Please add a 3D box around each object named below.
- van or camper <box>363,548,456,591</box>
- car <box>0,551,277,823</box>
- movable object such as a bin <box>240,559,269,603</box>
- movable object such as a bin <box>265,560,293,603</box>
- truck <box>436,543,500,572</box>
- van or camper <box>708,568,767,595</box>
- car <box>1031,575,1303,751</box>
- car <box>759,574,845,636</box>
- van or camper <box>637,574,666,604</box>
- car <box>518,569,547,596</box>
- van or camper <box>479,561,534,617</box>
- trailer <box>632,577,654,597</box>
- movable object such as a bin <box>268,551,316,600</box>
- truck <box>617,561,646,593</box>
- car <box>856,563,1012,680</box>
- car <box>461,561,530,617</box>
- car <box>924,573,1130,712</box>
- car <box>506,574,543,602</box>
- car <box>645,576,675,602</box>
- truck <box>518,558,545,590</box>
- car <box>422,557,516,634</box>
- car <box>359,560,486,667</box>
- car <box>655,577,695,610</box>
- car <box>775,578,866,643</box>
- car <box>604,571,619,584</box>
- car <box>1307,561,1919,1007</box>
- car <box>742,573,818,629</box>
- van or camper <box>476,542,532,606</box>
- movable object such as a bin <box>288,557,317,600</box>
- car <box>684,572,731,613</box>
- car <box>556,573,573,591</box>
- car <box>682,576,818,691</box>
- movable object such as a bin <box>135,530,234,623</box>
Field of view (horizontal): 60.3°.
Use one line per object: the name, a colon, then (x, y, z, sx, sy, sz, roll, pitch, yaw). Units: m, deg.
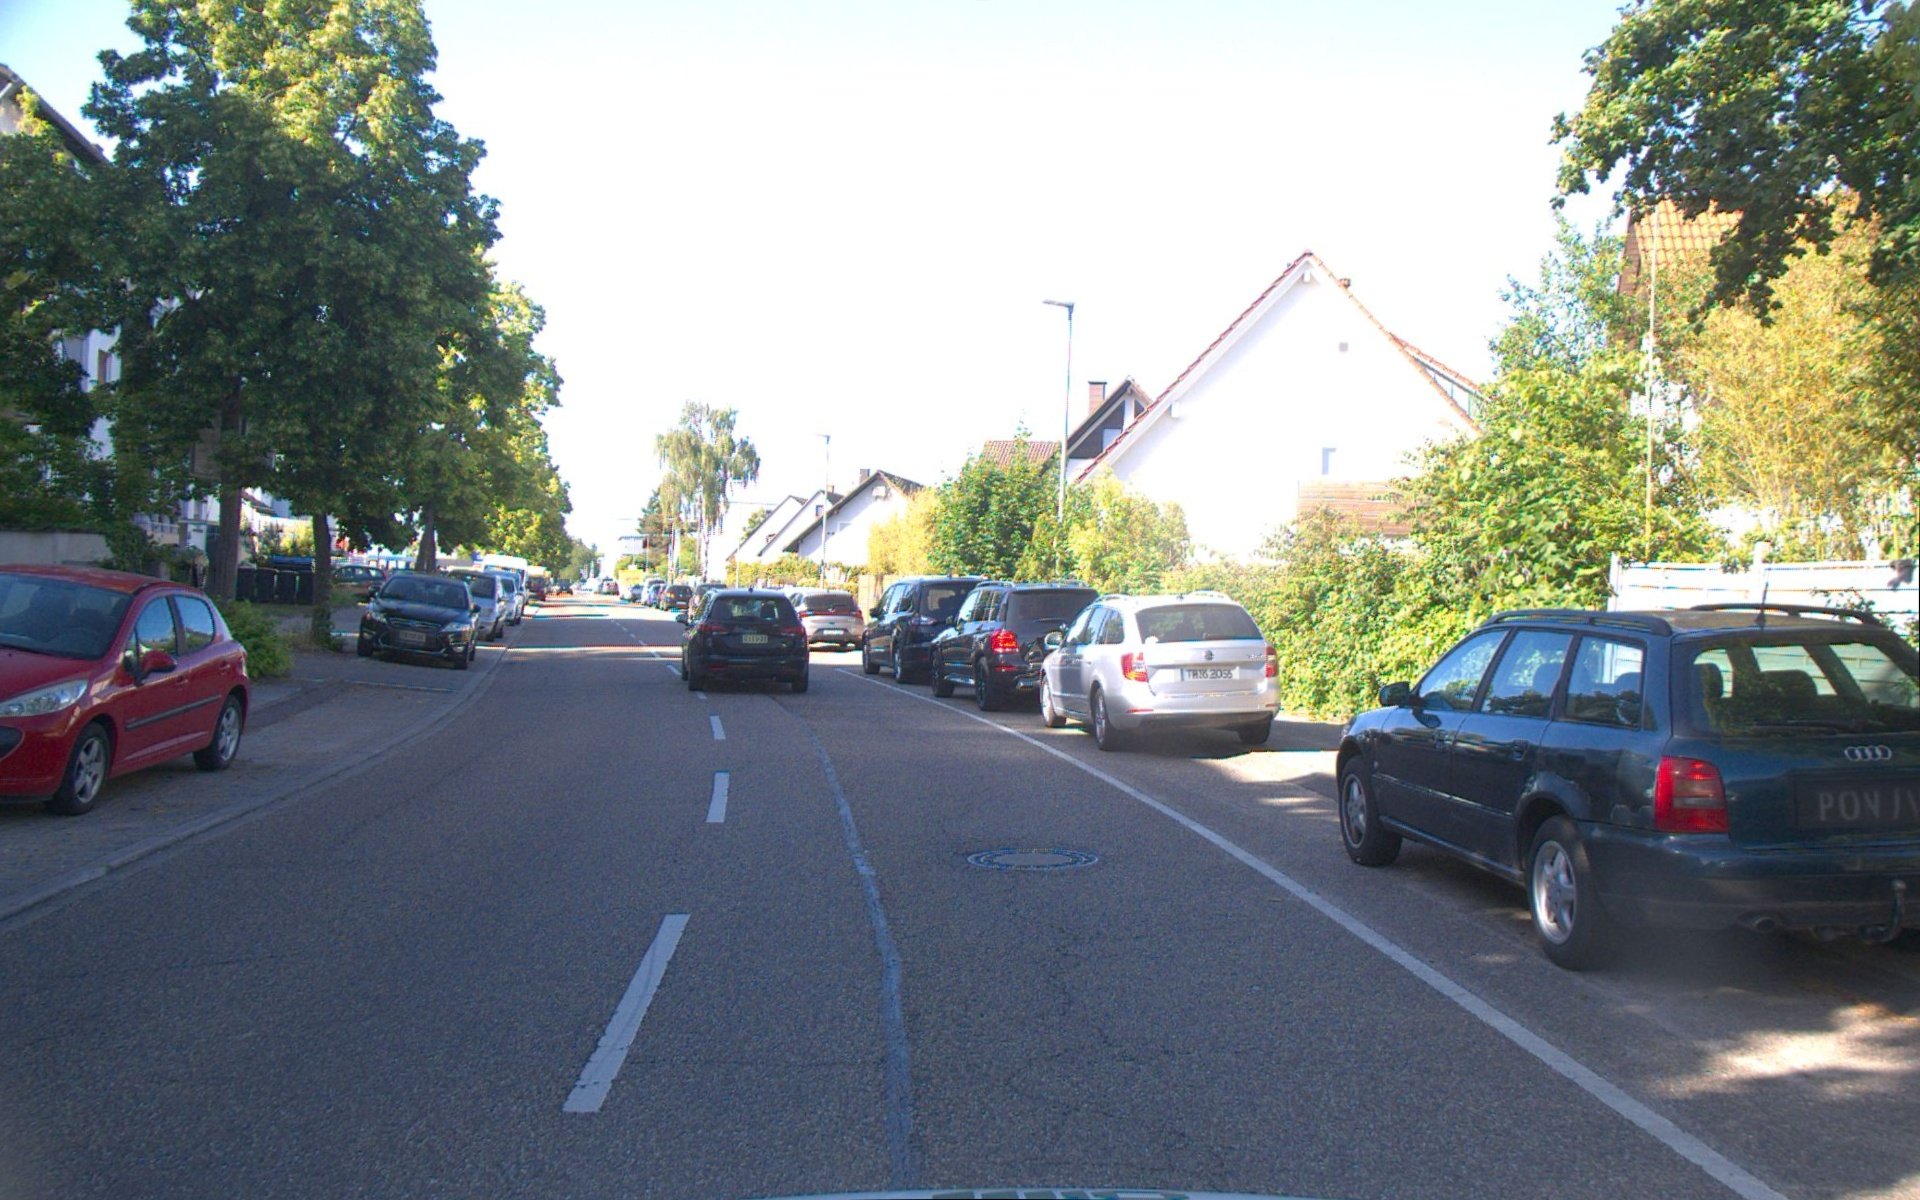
van or camper: (-33.696, -1.883, 101.331, 4.793, 2.361, 2.243, 3, -1, -1)
car: (-6.402, 0.474, 11.750, 1.625, 1.519, 3.905, 5, 0, -5)
movable object such as a bin: (-21.530, -0.572, 50.486, 0.627, 1.301, 0.670, 2, 0, -11)
movable object such as a bin: (-20.866, -0.560, 50.655, 0.627, 1.301, 0.670, 2, 0, -11)
truck: (-50.585, -4.385, 170.011, 5.803, 2.612, 2.223, 3, 0, -3)
van or camper: (-23.095, -1.929, 172.051, 5.781, 2.585, 2.256, 2, 0, -42)
car: (2.027, 0.554, 17.608, 1.729, 1.591, 4.654, 2, 1, -8)
car: (-4.608, 0.119, 47.905, 1.697, 1.628, 3.798, 3, 0, -17)
van or camper: (-20.829, -0.767, 111.644, 1.689, 1.923, 4.165, 2, 0, -13)
car: (-30.849, -1.242, 119.472, 1.773, 1.783, 4.327, 4, 0, -13)
van or camper: (-17.891, -0.448, 65.376, 1.845, 2.048, 4.265, 3, 0, -13)
trailer: (-25.534, -1.057, 133.033, 1.599, 1.565, 3.188, 2, 0, -13)
movable object such as a bin: (-21.620, -0.789, 53.556, 1.209, 1.508, 1.113, 2, 0, -11)
truck: (-31.050, -2.149, 156.277, 2.362, 2.988, 6.991, 0, 0, -14)
car: (-0.540, 0.314, 28.817, 1.714, 1.844, 4.413, 1, 1, -14)
car: (-14.902, -0.363, 53.222, 1.663, 1.593, 3.896, 5, 0, -11)
car: (0.808, 0.504, 22.806, 1.732, 1.705, 4.380, 1, 1, -13)
car: (-24.498, -0.693, 93.067, 1.657, 1.460, 4.197, 4, 0, -12)
car: (-19.165, -0.713, 105.514, 1.689, 1.531, 3.551, 2, 0, -13)
truck: (-42.777, -2.573, 165.276, 2.363, 3.035, 7.217, 4, 0, -15)
car: (-12.198, -0.112, 41.285, 1.692, 1.620, 3.898, 7, -1, -11)
car: (-9.330, 0.185, 28.993, 1.694, 1.519, 4.526, 7, -1, -15)
car: (-15.918, -0.384, 92.266, 1.747, 1.687, 3.801, 3, 0, -15)
car: (-3.544, 0.232, 41.426, 1.614, 1.520, 3.875, 1, 1, -14)
car: (-49.373, -3.163, 234.446, 1.886, 1.857, 4.066, 2, 0, -13)
car: (3.180, 0.651, 8.214, 1.621, 1.591, 4.461, 2, 1, -5)
car: (-5.730, 0.018, 52.342, 1.630, 1.628, 3.798, 3, 0, -17)
van or camper: (-20.008, -1.142, 72.779, 2.087, 2.533, 5.534, 4, 0, -14)
movable object such as a bin: (-20.186, -0.661, 50.788, 0.675, 1.301, 0.670, 2, 0, -11)
car: (-11.232, -0.369, 73.418, 1.745, 1.687, 4.290, 3, 0, -12)
car: (-45.961, -2.100, 192.176, 1.861, 2.067, 4.801, 0, 1, -13)
car: (-3.236, 0.450, 24.958, 1.682, 1.559, 3.676, 2, 1, -13)
movable object such as a bin: (-14.709, -0.447, 31.433, 1.388, 1.691, 1.263, 2, 0, -12)
